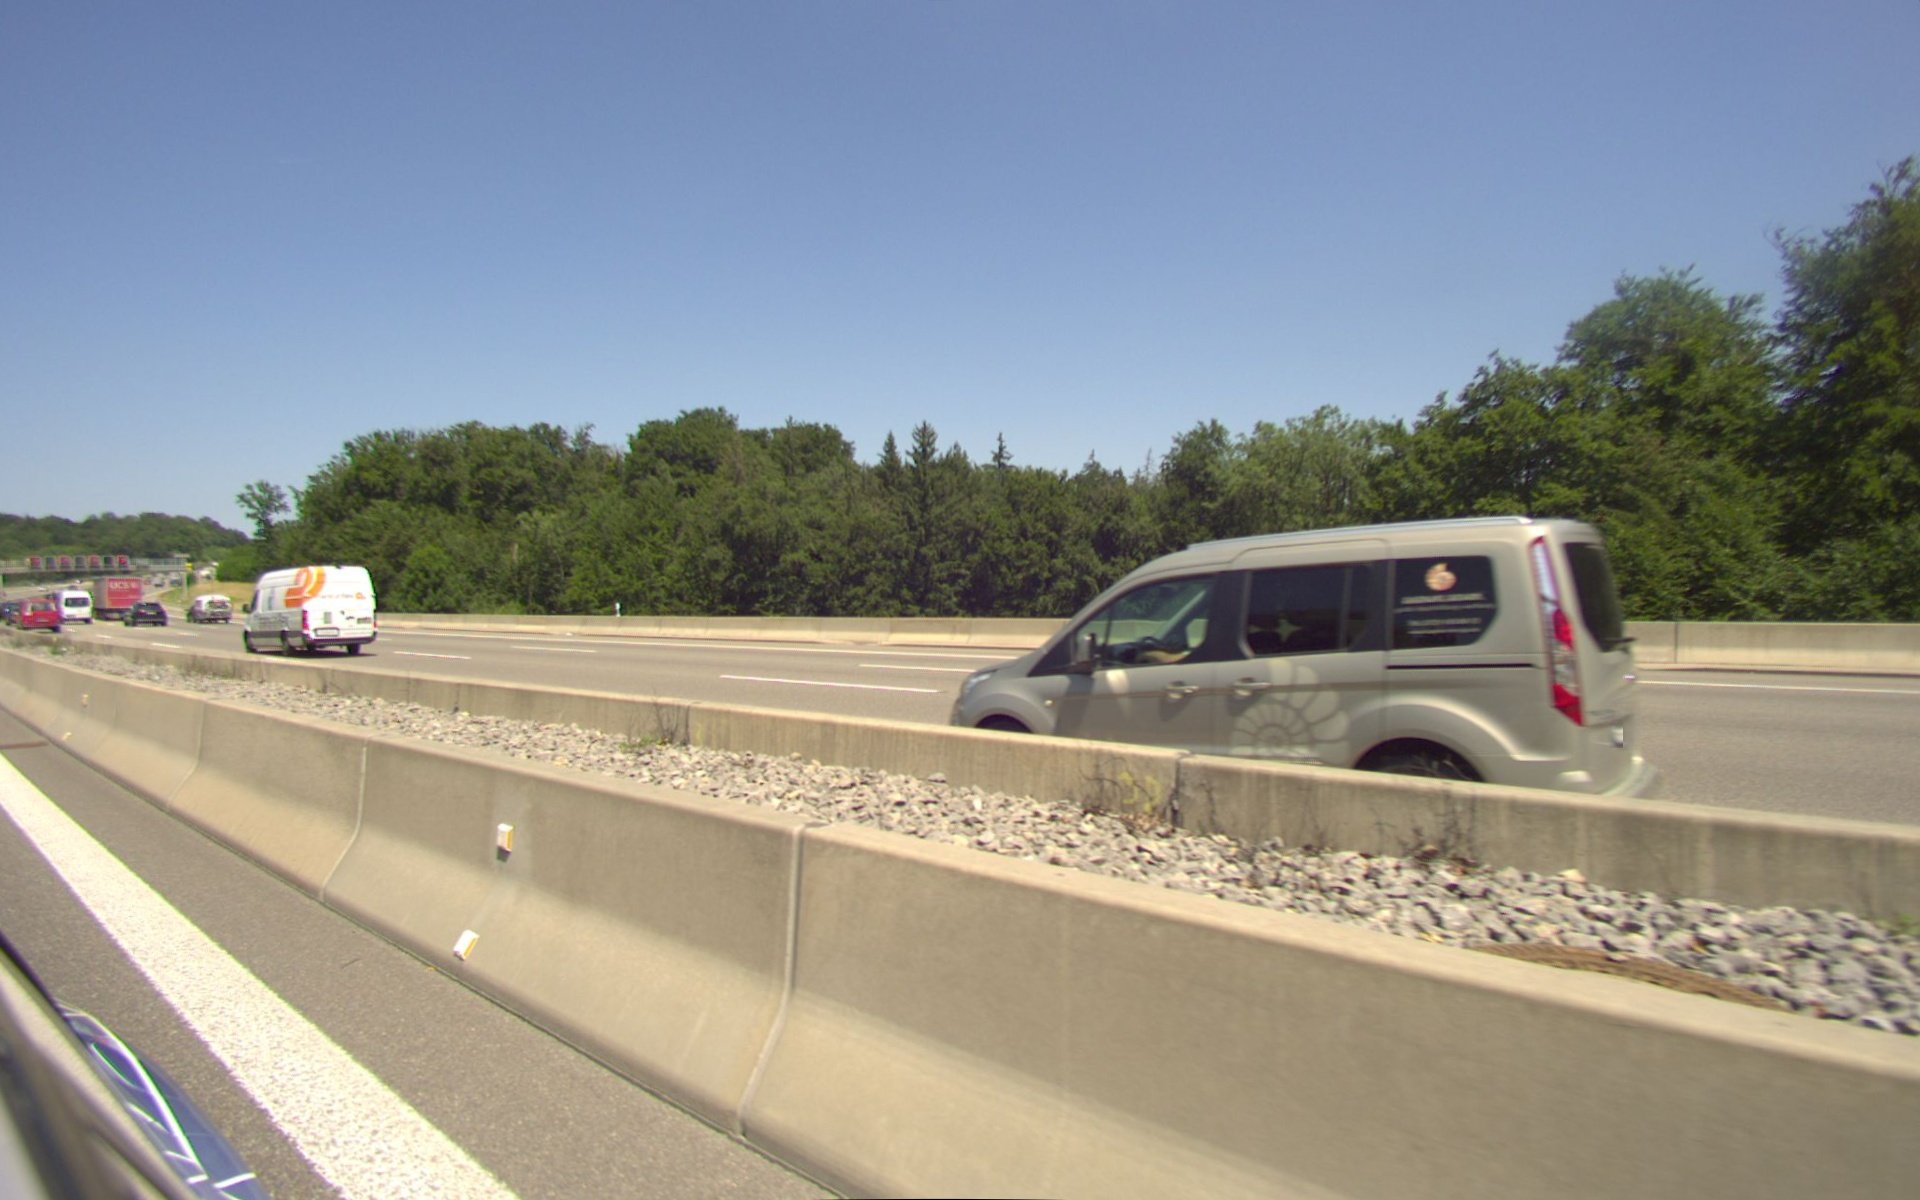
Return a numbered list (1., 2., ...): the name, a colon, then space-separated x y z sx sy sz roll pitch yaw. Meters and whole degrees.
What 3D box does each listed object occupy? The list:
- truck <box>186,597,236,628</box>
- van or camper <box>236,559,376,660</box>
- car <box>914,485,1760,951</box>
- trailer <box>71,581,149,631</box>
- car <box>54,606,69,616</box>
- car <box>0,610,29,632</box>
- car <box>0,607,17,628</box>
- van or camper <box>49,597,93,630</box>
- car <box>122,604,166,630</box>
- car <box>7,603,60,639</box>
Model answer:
1. truck: -60.202 0.972 81.230 2.023 2.271 8.830 -2 2 -44
2. van or camper: -20.522 0.301 31.560 7.415 2.821 1.972 -1 0 43
3. car: 2.003 0.504 6.286 4.585 1.885 1.800 -1 0 41
4. trailer: -79.559 0.475 94.560 14.478 4.312 3.794 0 1 43
5. car: -159.077 1.996 179.106 4.640 1.647 1.734 -1 -1 45
6. car: -72.890 1.589 77.681 4.825 1.521 1.750 0 2 44
7. car: -87.643 1.586 92.492 1.971 1.736 5.199 -2 2 -45
8. van or camper: -72.365 1.046 82.336 6.400 2.585 2.077 0 0 43
9. car: -58.764 1.193 72.858 5.072 1.775 1.971 0 0 45
10. car: -54.737 1.199 59.769 4.641 1.997 1.886 0 2 43
